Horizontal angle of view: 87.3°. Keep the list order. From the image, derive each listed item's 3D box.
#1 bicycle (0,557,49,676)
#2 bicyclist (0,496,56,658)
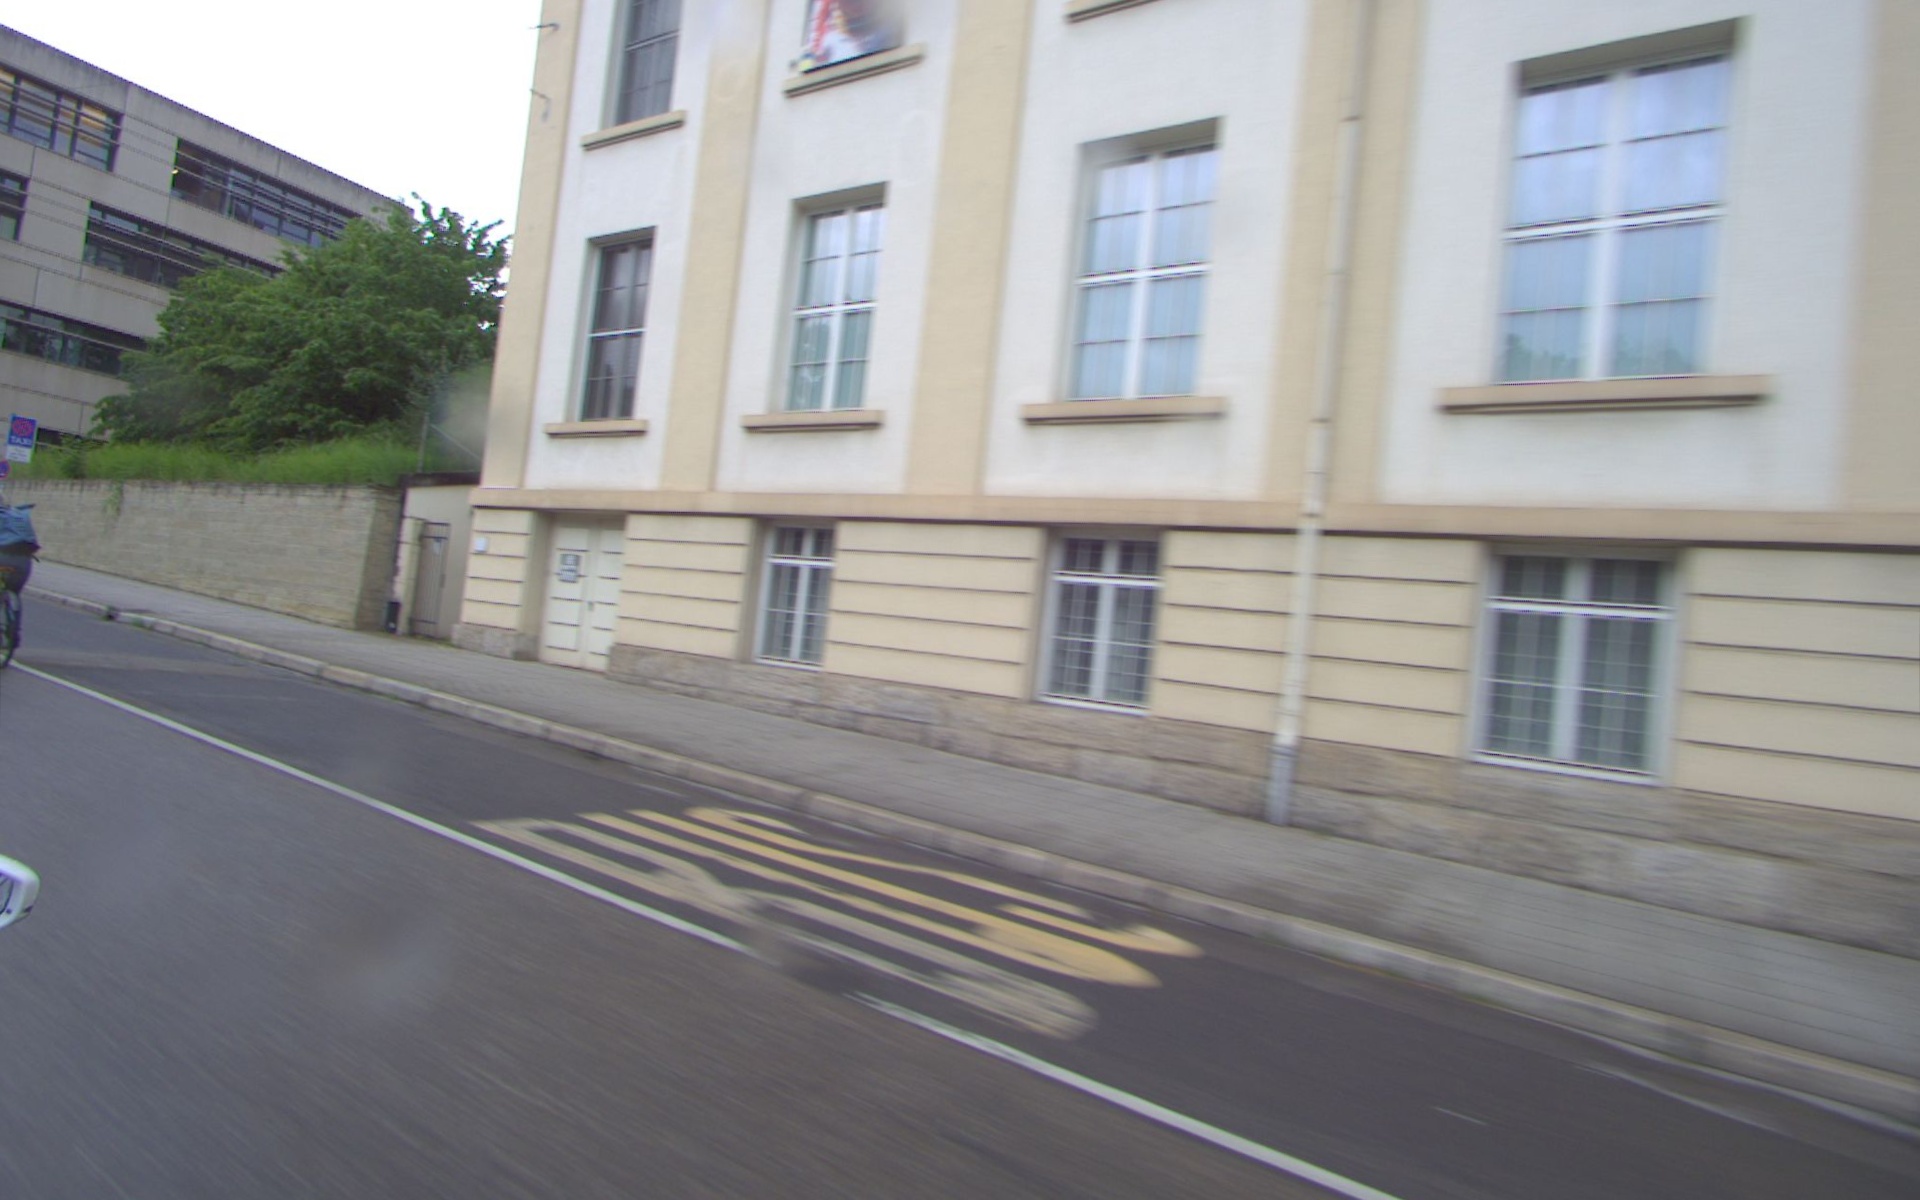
[{"bbox_3d":[-9.265,0.103,9.555,1.663,0.974,0.448,7,-1,35],"label":"bicycle"},{"bbox_3d":[-9.077,-0.243,9.474,0.915,1.449,0.485,6,-2,34],"label":"bicyclist"}]
